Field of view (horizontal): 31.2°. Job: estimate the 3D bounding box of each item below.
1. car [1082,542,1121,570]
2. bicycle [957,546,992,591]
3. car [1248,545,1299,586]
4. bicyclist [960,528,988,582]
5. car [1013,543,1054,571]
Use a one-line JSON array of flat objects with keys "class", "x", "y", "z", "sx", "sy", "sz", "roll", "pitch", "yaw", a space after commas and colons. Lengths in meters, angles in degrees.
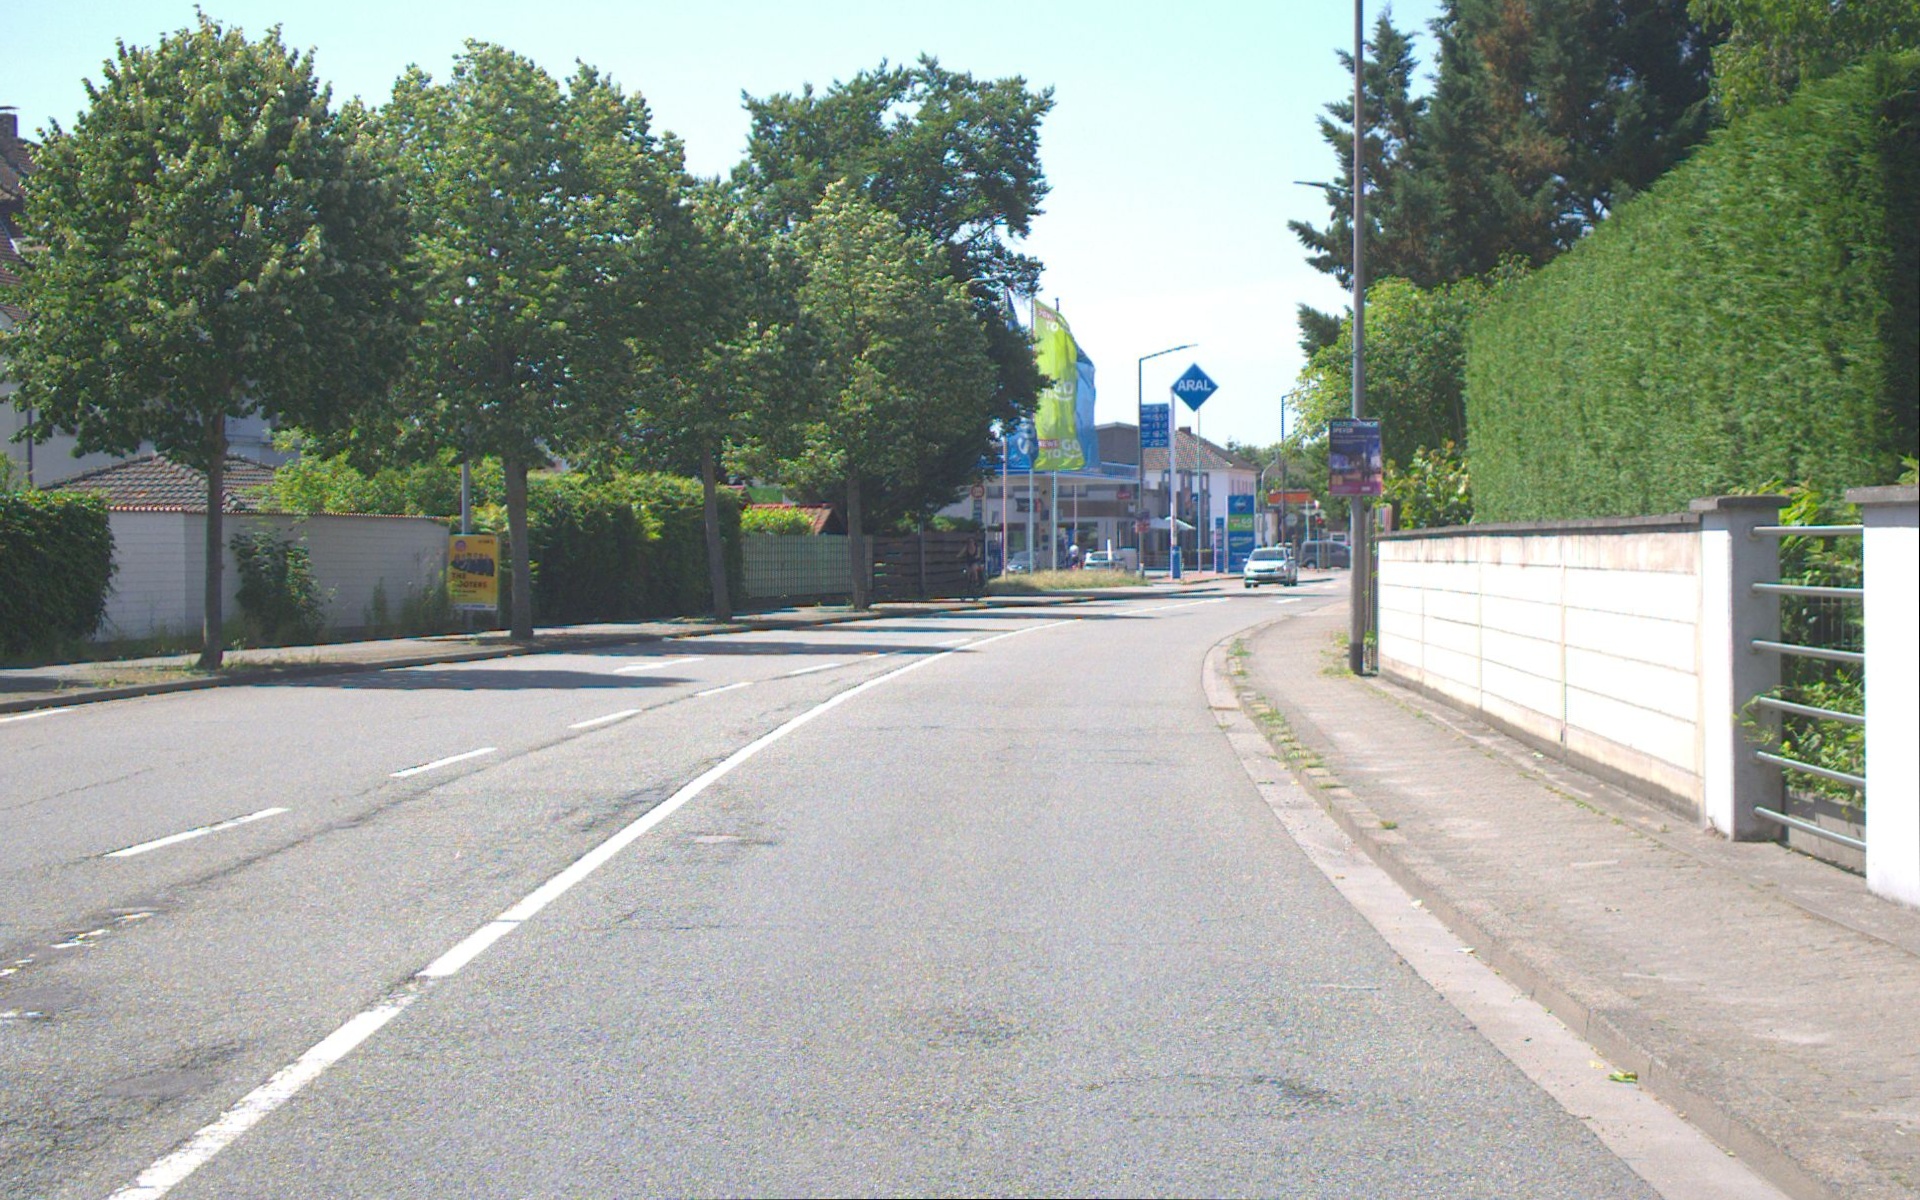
[{"class": "car", "x": 7.385, "y": -2.294, "z": 179.023, "sx": 1.617, "sy": 1.415, "sz": 3.710, "roll": -1, "pitch": 1, "yaw": 9}, {"class": "bicycle", "x": 0.389, "y": -0.826, "z": 89.694, "sx": 0.632, "sy": 1.176, "sz": 1.815, "roll": 0, "pitch": 1, "yaw": 9}, {"class": "car", "x": 11.634, "y": -1.303, "z": 127.420, "sx": 1.612, "sy": 1.477, "sz": 3.706, "roll": 1, "pitch": 1, "yaw": 10}, {"class": "bicyclist", "x": 0.372, "y": -1.177, "z": 89.620, "sx": 0.628, "sy": 1.404, "sz": 0.676, "roll": 0, "pitch": 1, "yaw": 9}, {"class": "car", "x": 3.850, "y": -2.246, "z": 179.270, "sx": 1.617, "sy": 1.415, "sz": 3.710, "roll": -1, "pitch": 1, "yaw": 9}]
